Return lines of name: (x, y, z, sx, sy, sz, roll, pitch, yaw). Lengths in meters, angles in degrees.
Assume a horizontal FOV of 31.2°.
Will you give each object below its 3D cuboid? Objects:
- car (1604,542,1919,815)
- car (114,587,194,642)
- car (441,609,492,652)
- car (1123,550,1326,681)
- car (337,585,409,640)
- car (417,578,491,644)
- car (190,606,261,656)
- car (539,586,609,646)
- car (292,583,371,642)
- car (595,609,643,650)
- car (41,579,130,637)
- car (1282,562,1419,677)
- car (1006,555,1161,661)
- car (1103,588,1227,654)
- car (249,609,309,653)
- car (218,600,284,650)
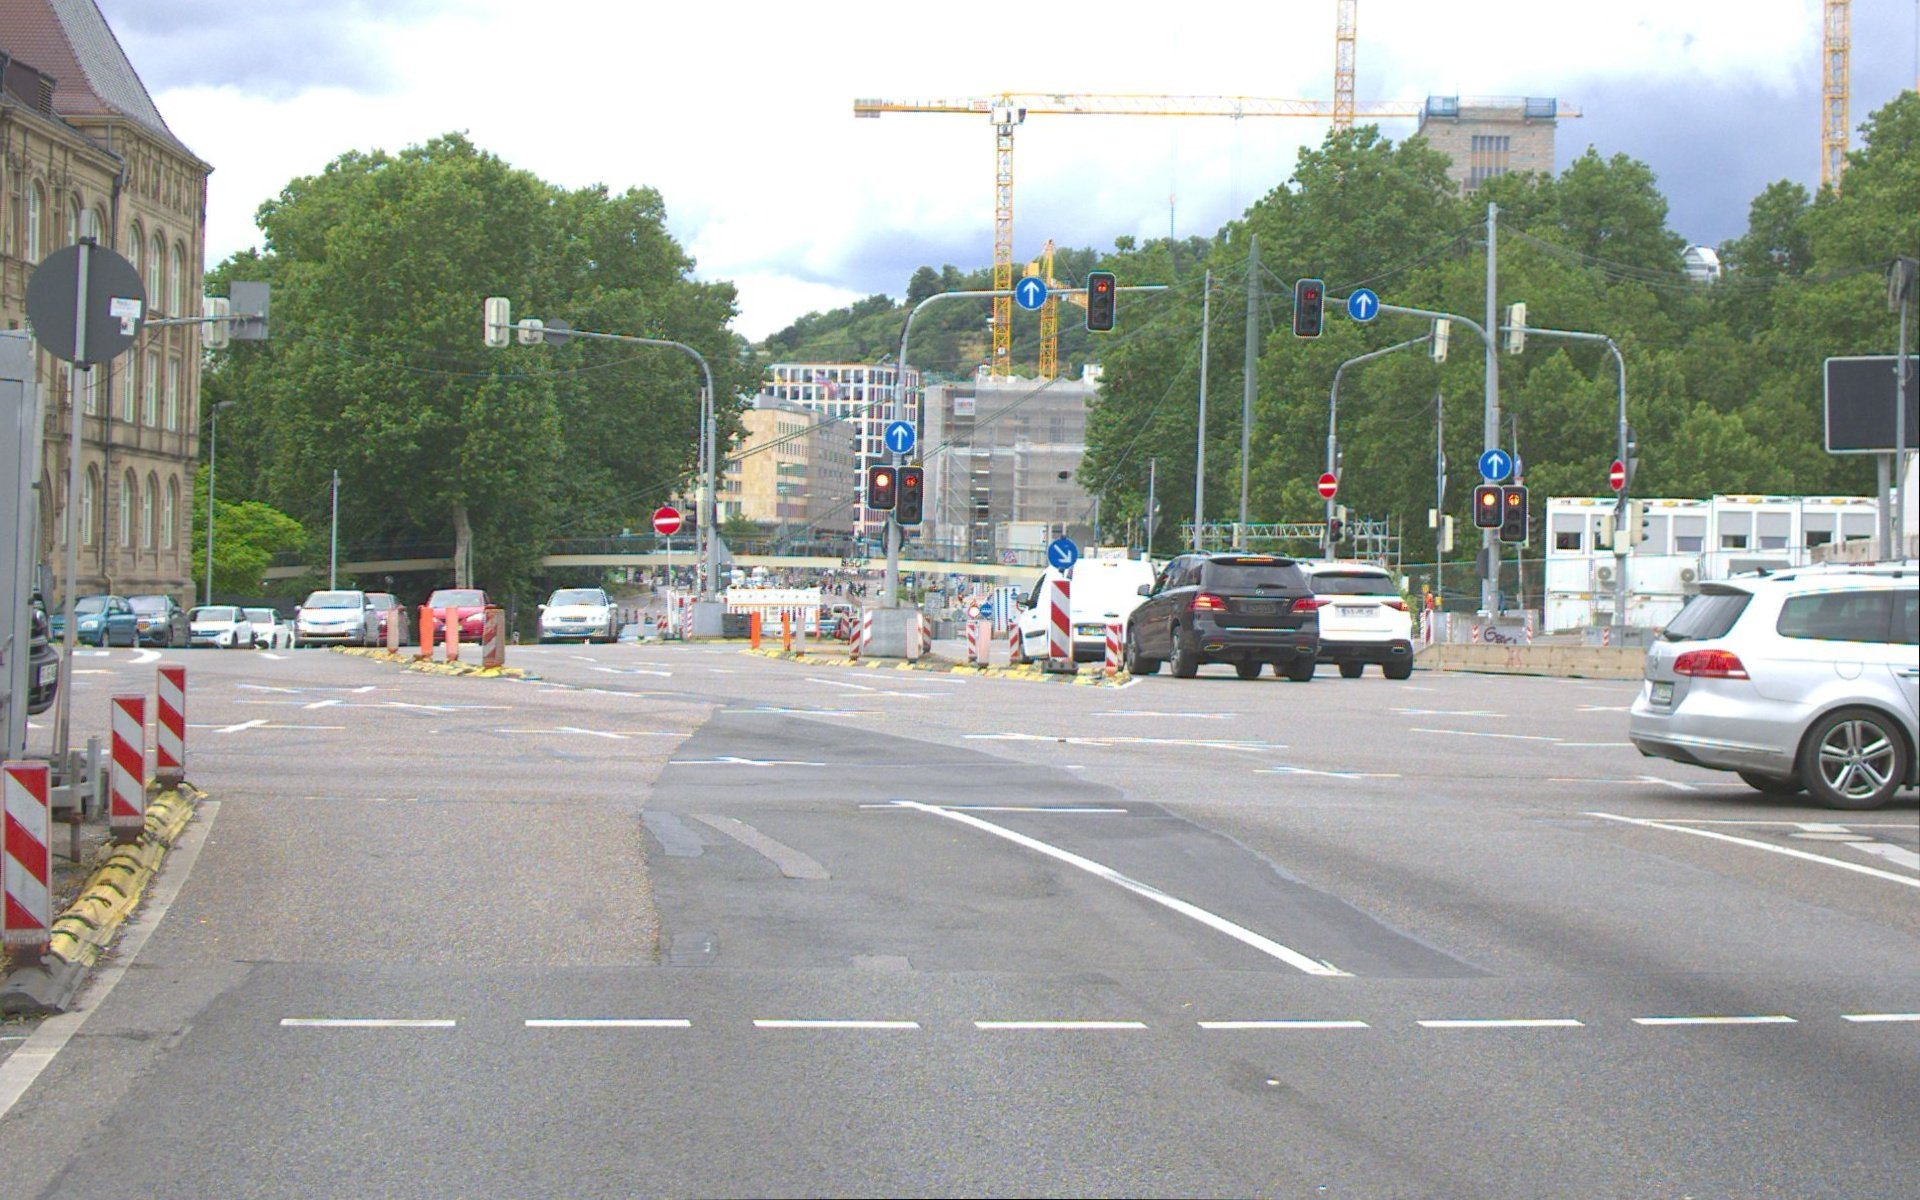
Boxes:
car: (6.578, 0.485, 21.561, 4.709, 1.619, 1.682, 1, 0, -3)
car: (-21.776, 0.382, 92.991, 1.675, 1.393, 3.684, 1, 1, -7)
car: (-17.330, 1.064, 120.871, 1.675, 1.393, 3.684, 1, 1, -7)
car: (3.668, 0.185, 48.493, 1.831, 1.740, 4.257, 1, 1, -10)
car: (-15.658, 0.331, 91.802, 1.675, 1.393, 3.684, 1, 1, -7)
car: (-12.444, 0.254, 84.731, 1.675, 1.575, 3.684, 1, 1, -7)
car: (-21.621, 0.896, 101.283, 1.675, 1.393, 3.684, 1, 1, -7)
car: (-9.551, 0.382, 85.030, 1.675, 1.393, 3.684, 1, 1, -7)
car: (-15.638, 0.291, 85.640, 1.675, 1.393, 3.684, 1, 1, -7)
car: (-12.588, 1.072, 126.754, 1.675, 1.393, 3.684, 1, 1, -7)
car: (-21.988, 0.195, 86.498, 1.675, 1.393, 3.684, 1, 1, -7)
car: (5.994, 0.268, 53.060, 1.676, 1.696, 3.374, 1, 1, -1)
car: (1.958, 0.102, 55.539, 1.816, 1.619, 4.001, 1, 1, -8)
car: (4.510, 0.453, 76.001, 1.675, 1.393, 3.087, 1, 1, -19)
car: (-22.870, 1.039, 115.550, 1.675, 1.393, 3.684, 1, 1, -7)
car: (-22.367, 0.797, 108.545, 1.675, 1.394, 3.683, 0, -3, -6)
